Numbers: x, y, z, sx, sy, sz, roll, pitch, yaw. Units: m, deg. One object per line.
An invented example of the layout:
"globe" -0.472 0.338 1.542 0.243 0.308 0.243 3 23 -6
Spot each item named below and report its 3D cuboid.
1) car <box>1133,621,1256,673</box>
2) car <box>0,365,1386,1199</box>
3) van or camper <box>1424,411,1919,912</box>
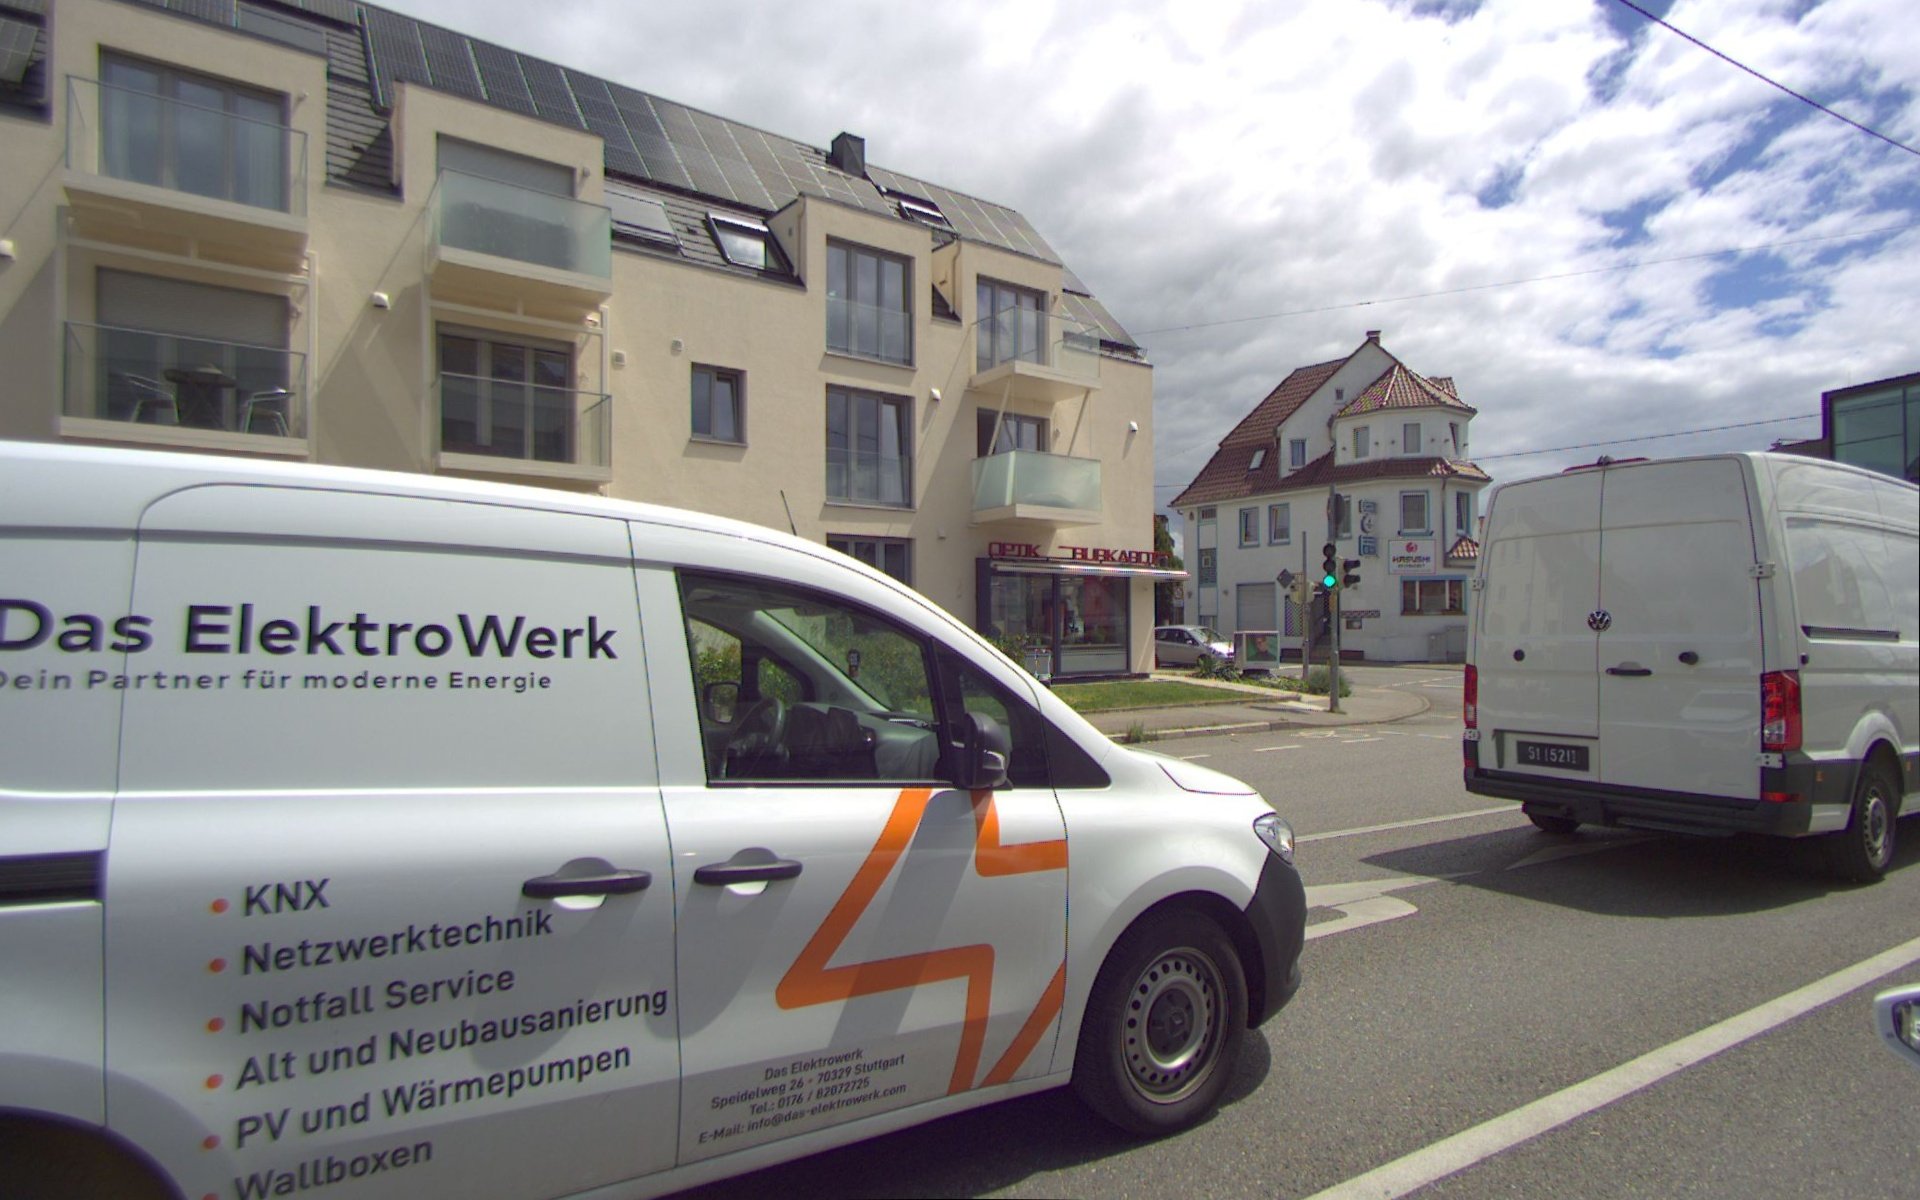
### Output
"car" 8.301 1.641 35.816 1.981 1.706 3.959 1 -1 -36
"car" -0.892 0.595 2.943 4.370 1.836 1.806 1 -1 -33
"van or camper" 6.166 0.403 7.669 5.584 2.620 2.096 1 -2 -33
